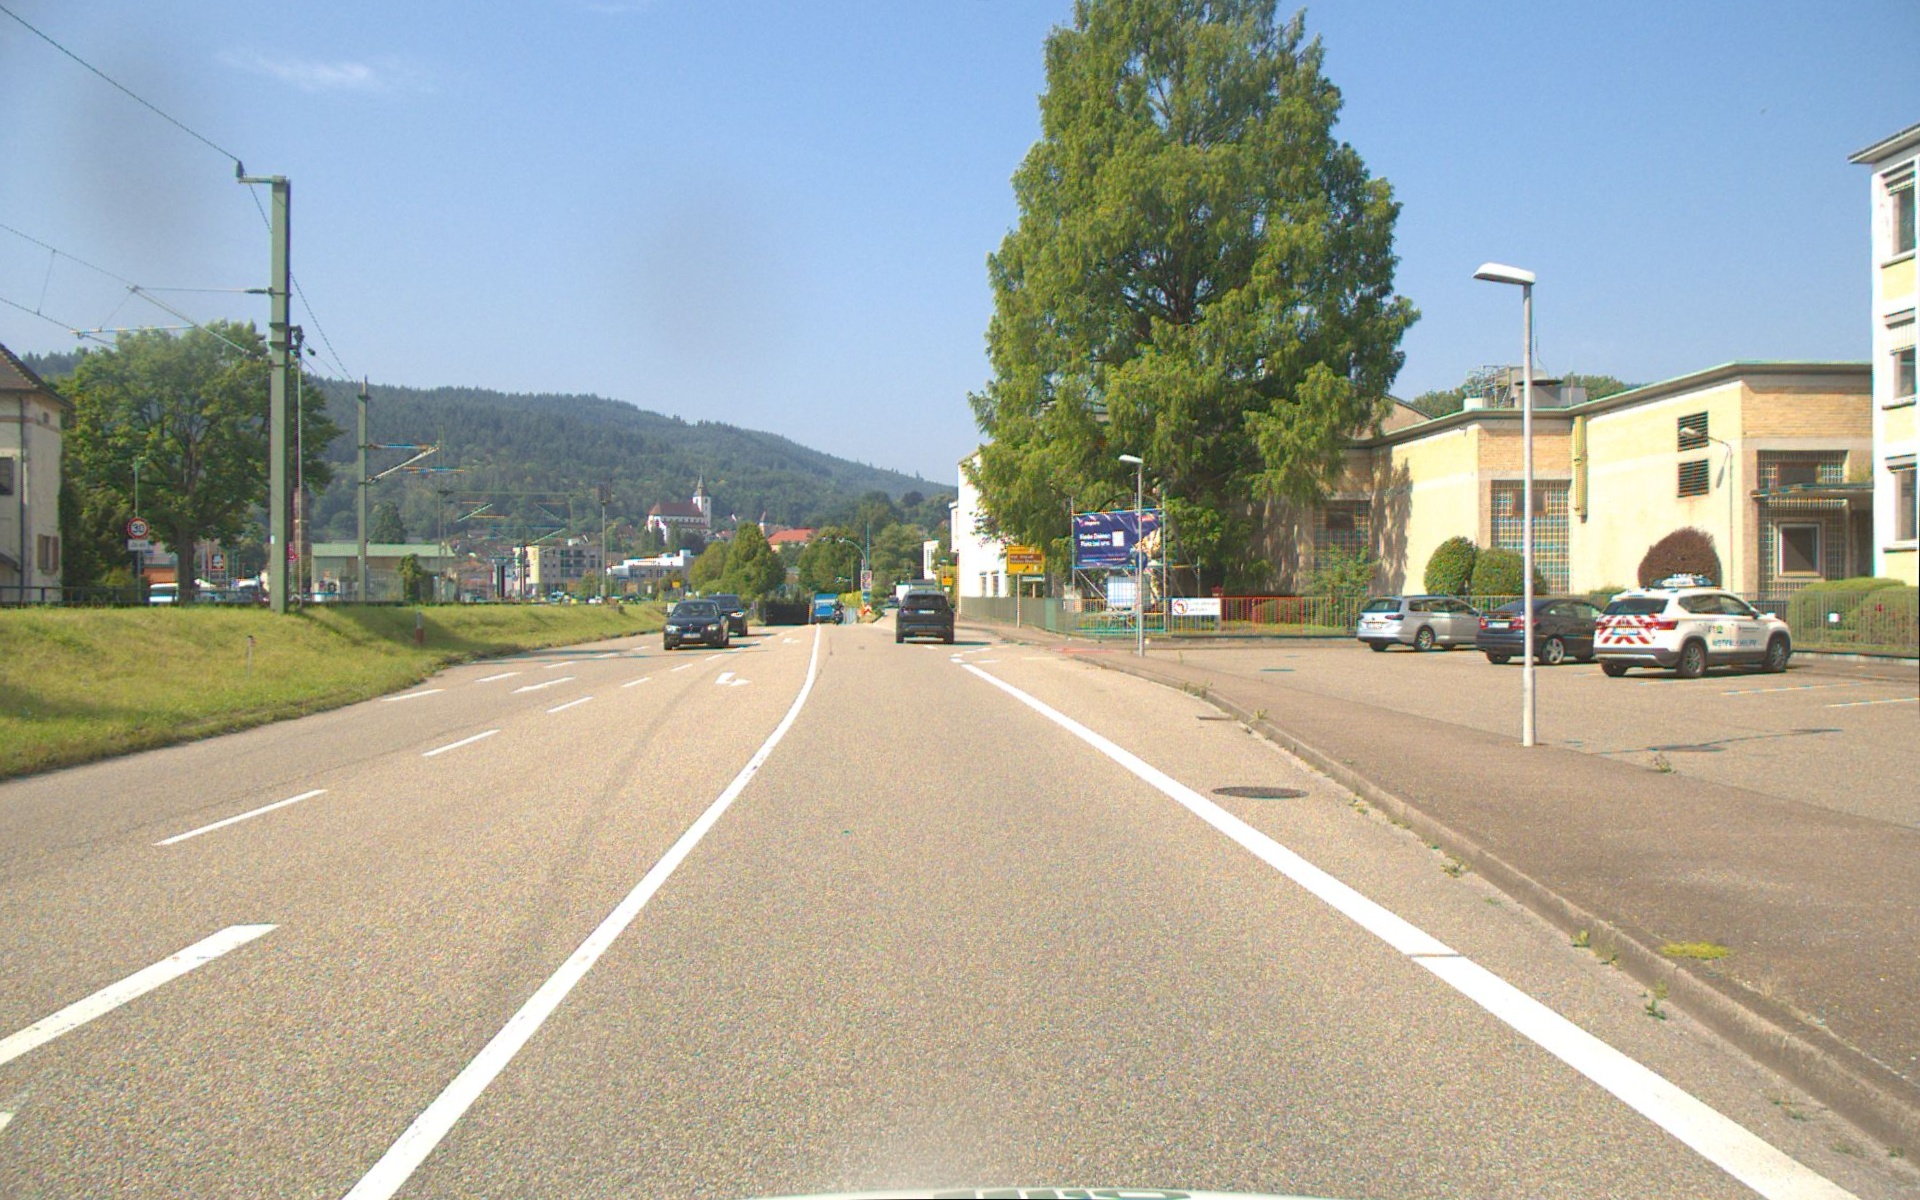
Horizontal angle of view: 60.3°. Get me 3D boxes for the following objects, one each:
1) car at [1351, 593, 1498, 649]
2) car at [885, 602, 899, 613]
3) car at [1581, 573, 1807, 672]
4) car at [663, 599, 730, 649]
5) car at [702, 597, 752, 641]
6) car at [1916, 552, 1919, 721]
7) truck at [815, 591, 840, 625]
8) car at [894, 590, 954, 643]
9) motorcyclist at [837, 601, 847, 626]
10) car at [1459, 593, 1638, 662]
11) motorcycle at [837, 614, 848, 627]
[{"bbox_3d":[12.441,0.547,44.254,3.951,1.425,1.645,0,0,-34],"label":"car"},{"bbox_3d":[-9.030,0.990,219.492,1.731,1.512,3.999,1,-1,-1],"label":"car"},{"bbox_3d":[13.589,0.381,30.570,4.119,1.701,1.849,0,0,-32],"label":"car"},{"bbox_3d":[-7.948,0.690,50.163,1.721,1.454,3.996,0,0,-5],"label":"car"},{"bbox_3d":[-9.053,0.708,64.406,1.721,1.668,3.996,0,0,-5],"label":"car"},{"bbox_3d":[13.169,0.366,18.701,4.969,1.864,1.962,-1,0,-31],"label":"car"},{"bbox_3d":[-12.086,0.717,150.966,2.267,3.022,5.960,0,0,-5],"label":"truck"},{"bbox_3d":[-1.198,0.512,53.571,1.881,1.668,3.998,0,0,-2],"label":"car"},{"bbox_3d":[-7.124,0.816,99.822,0.594,1.547,0.863,0,0,-3],"label":"motorcyclist"},{"bbox_3d":[12.835,0.564,36.021,3.951,1.425,1.645,0,0,-34],"label":"car"},{"bbox_3d":[-7.088,1.226,99.818,0.594,0.766,1.414,0,0,-2],"label":"motorcycle"}]
